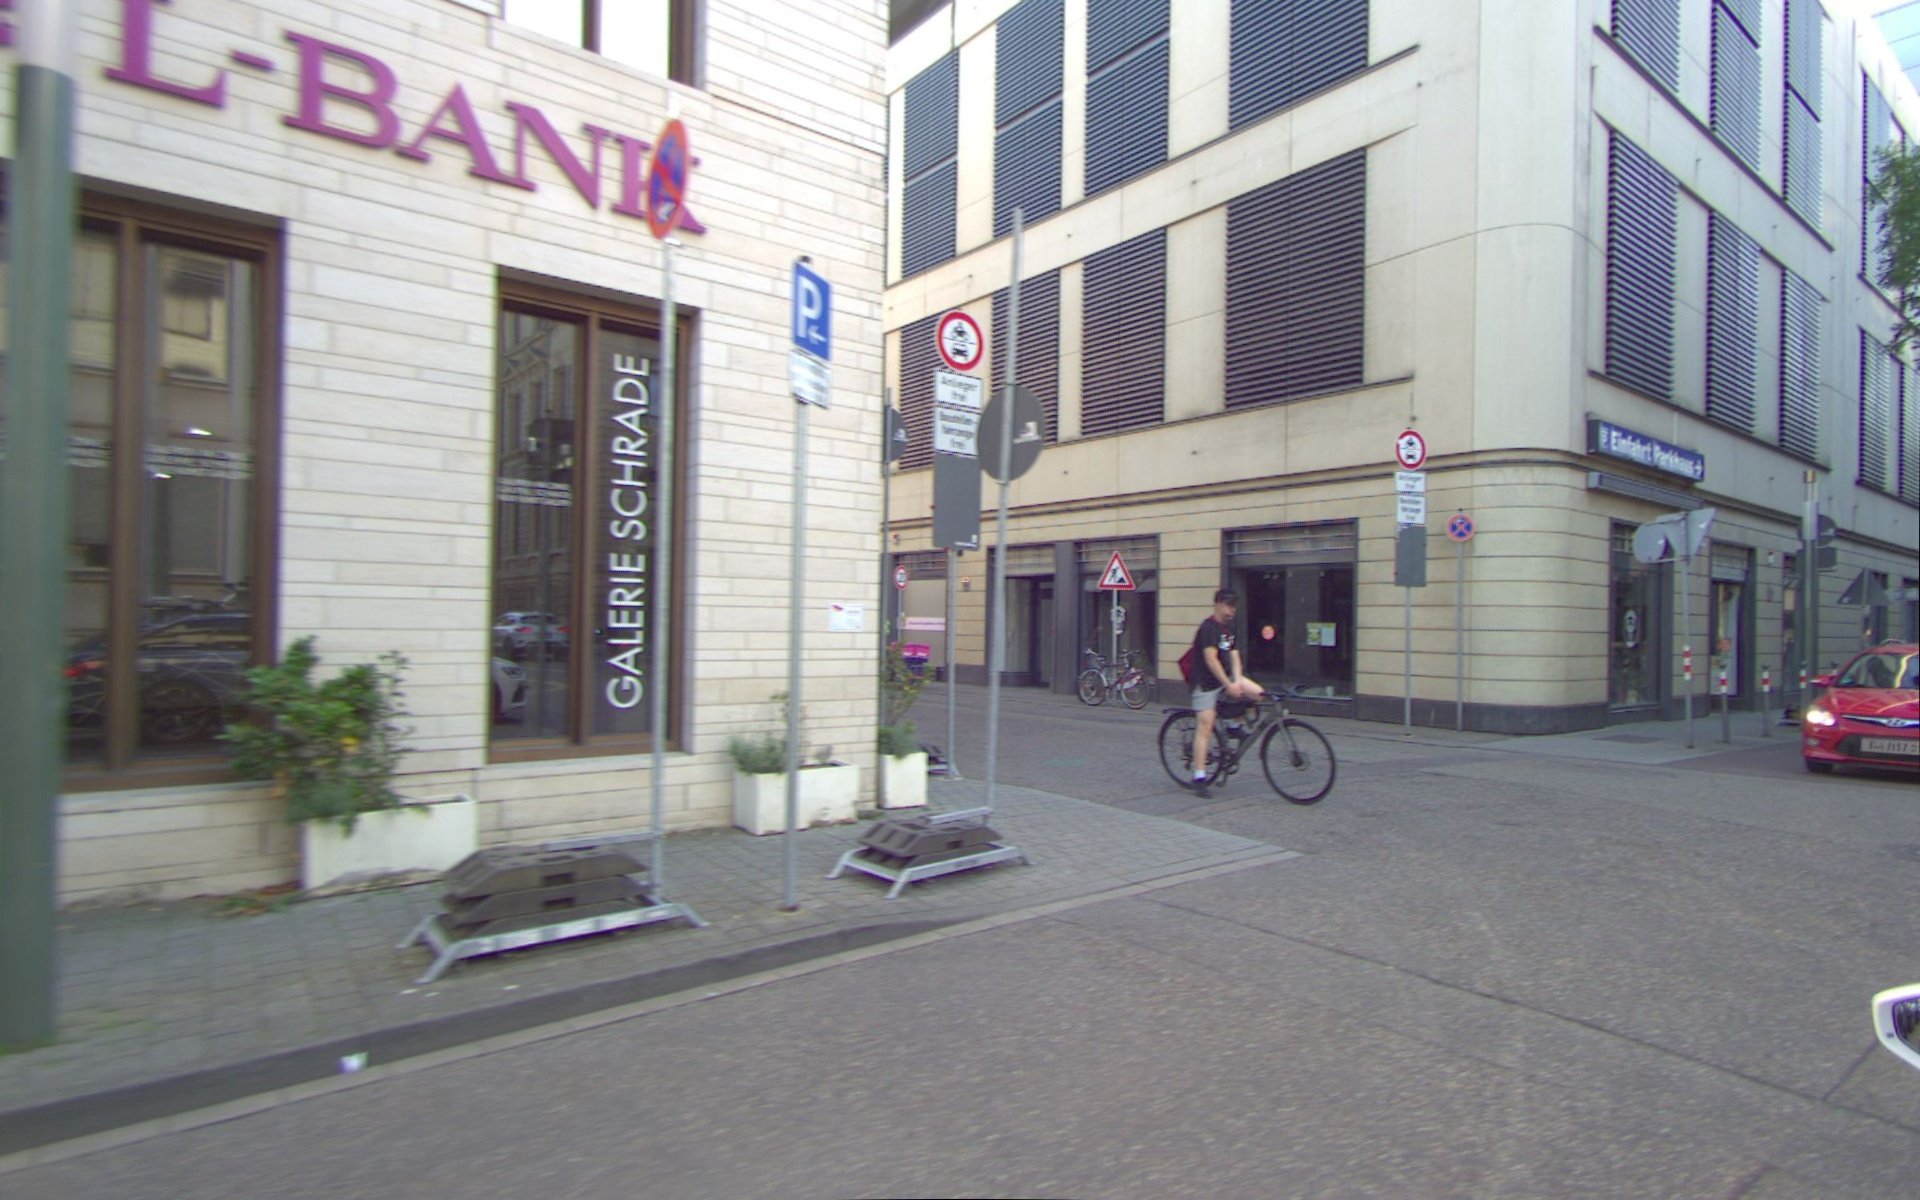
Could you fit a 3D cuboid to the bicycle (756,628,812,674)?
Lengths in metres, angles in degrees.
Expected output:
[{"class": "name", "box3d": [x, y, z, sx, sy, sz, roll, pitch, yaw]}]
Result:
[{"class": "bicycle", "box3d": [-4.916, 1.428, 28.105, 1.501, 1.266, 0.350, 2, -1, -29]}]

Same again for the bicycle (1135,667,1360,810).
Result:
[{"class": "bicycle", "box3d": [2.391, 1.115, 8.524, 0.508, 0.986, 1.796, 3, -1, -45]}]

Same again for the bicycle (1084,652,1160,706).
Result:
[{"class": "bicycle", "box3d": [3.262, 1.571, 20.186, 1.494, 1.047, 0.352, 1, -1, -17]}]

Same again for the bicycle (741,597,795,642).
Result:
[{"class": "bicycle", "box3d": [-5.627, 0.577, 29.440, 1.499, 1.266, 0.350, 2, -1, -26]}]

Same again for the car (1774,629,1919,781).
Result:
[{"class": "car", "box3d": [11.142, 1.177, 11.461, 4.222, 1.484, 1.810, 4, -3, -35]}]

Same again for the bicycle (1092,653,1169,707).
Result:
[{"class": "bicycle", "box3d": [3.373, 1.568, 19.816, 1.494, 1.047, 0.352, 1, -1, -17]}]

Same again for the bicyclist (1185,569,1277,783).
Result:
[{"class": "bicyclist", "box3d": [2.325, 0.629, 8.613, 0.544, 1.754, 0.498, 1, -1, 45]}]

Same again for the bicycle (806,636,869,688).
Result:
[{"class": "bicycle", "box3d": [-3.105, 1.571, 25.505, 1.496, 1.266, 0.351, 2, -1, -21]}]
